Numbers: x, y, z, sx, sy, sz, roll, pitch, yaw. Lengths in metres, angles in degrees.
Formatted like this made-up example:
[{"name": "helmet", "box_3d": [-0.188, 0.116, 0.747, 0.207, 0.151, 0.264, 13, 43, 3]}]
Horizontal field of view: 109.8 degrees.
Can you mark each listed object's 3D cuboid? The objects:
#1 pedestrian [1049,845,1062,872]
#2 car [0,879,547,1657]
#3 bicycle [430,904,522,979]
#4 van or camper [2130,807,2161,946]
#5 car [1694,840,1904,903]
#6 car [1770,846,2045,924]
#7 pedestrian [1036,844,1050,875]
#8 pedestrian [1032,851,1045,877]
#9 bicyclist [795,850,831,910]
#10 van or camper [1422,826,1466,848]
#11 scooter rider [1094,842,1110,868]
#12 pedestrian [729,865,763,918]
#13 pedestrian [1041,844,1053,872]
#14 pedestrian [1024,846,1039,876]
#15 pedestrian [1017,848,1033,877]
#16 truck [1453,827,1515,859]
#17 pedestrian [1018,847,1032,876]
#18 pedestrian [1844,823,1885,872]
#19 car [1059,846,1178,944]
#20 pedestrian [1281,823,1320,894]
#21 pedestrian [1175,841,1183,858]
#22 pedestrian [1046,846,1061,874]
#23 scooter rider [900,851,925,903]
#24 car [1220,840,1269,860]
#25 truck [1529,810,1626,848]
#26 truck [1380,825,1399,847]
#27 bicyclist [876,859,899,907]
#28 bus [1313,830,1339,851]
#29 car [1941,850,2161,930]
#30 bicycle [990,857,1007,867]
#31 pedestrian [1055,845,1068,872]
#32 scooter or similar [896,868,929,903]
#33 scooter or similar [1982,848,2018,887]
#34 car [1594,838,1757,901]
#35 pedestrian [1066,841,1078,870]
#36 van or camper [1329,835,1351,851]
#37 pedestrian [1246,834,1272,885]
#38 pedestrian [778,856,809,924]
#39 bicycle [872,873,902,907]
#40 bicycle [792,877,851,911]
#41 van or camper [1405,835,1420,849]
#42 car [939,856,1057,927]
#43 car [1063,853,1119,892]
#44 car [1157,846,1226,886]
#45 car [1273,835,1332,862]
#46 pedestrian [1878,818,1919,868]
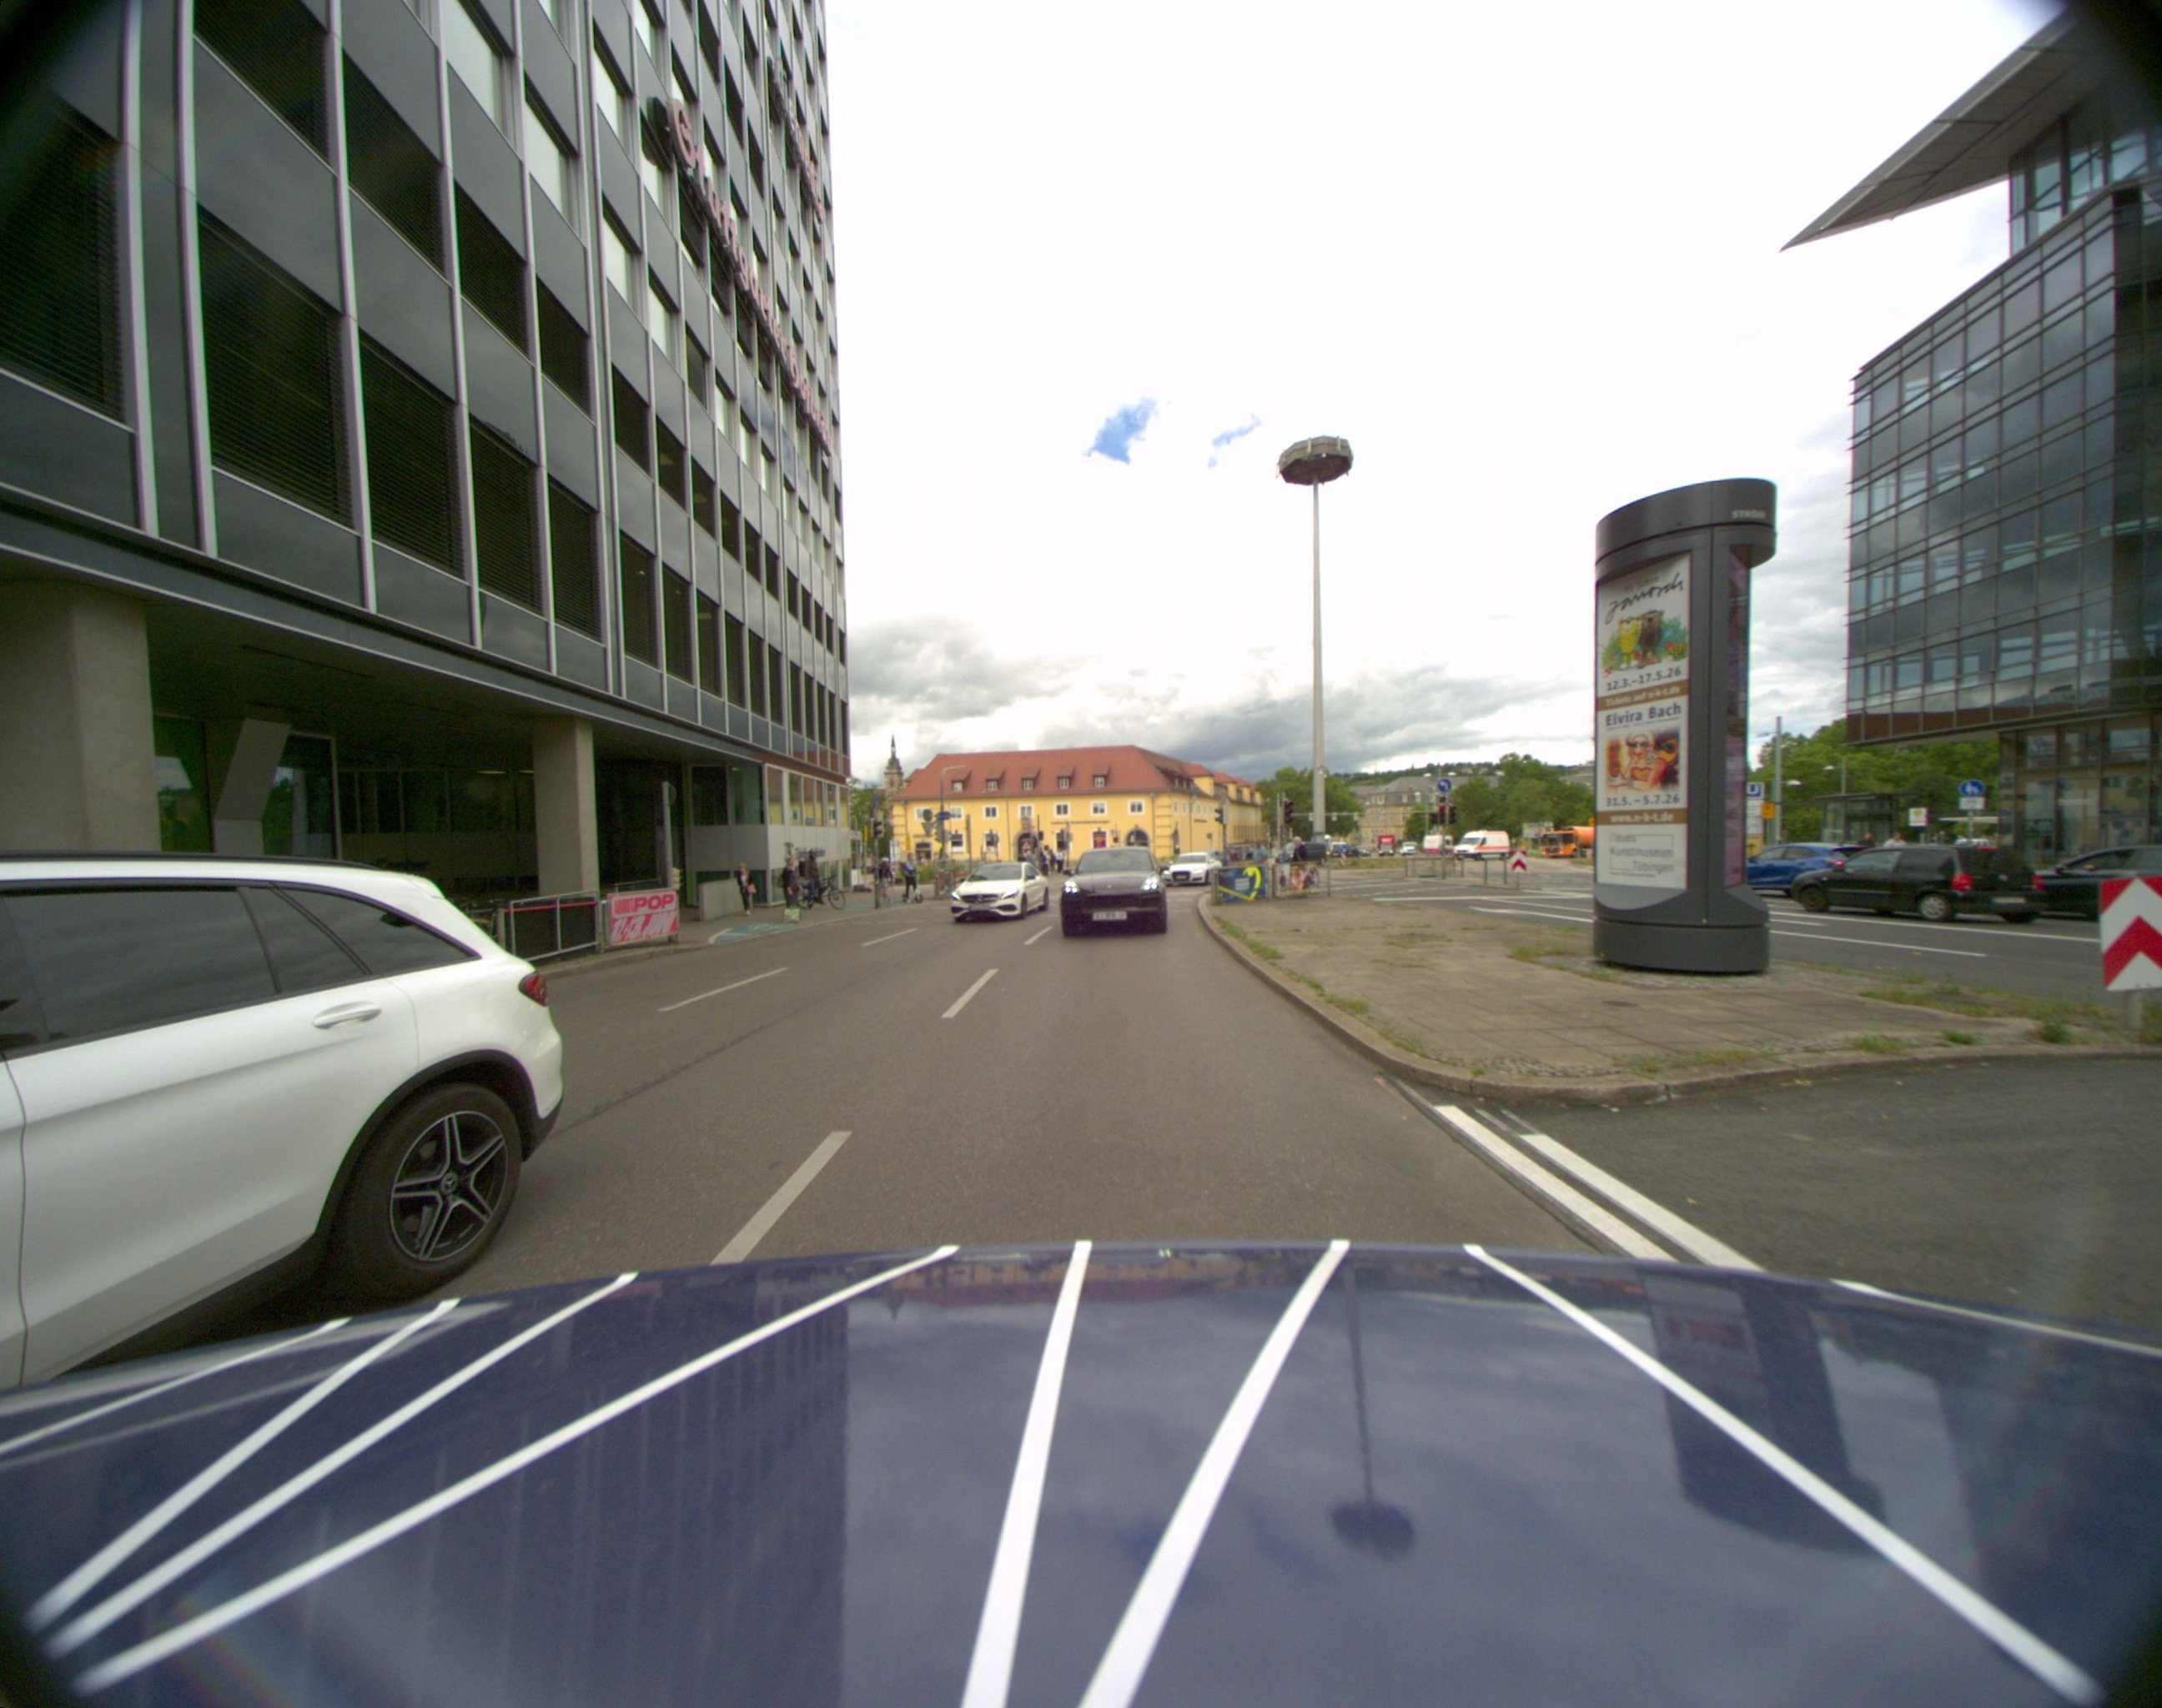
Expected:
[{"name": "pedestrian", "box_3d": [-1.690, 0.286, 49.553, 0.611, 1.686, 0.641, -2, 1, -23]}, {"name": "car", "box_3d": [-3.281, 0.954, 1.197, 1.806, 1.637, 4.333, 0, 1, 0]}, {"name": "bicycle", "box_3d": [-9.961, 1.409, 12.576, 0.715, 1.042, 1.484, -2, 1, -20]}, {"name": "van or camper", "box_3d": [15.773, 0.335, 8.179, 1.918, 1.910, 5.083, 0, 1, 1]}, {"name": "car", "box_3d": [19.378, 0.417, 20.814, 1.998, 1.516, 4.091, -1, 1, 2]}, {"name": "car", "box_3d": [16.103, 0.533, 15.113, 1.560, 1.371, 3.633, 0, 0, 2]}, {"name": "pedestrian", "box_3d": [-2.436, 0.335, 48.685, 0.611, 1.953, 0.641, -2, 1, -23]}, {"name": "pedestrian", "box_3d": [-2.839, 0.662, 50.510, 0.611, 1.686, 0.641, -2, 1, -23]}, {"name": "bicyclist", "box_3d": [-8.367, 0.784, 23.740, 0.812, 1.835, 0.676, 0, 2, 25]}, {"name": "van or camper", "box_3d": [43.497, -2.014, 91.087, 6.172, 2.463, 2.141, -2, 1, -37]}, {"name": "scooter rider", "box_3d": [1.367, 0.083, 49.798, 0.767, 1.684, 0.745, -2, 1, -15]}, {"name": "pedestrian", "box_3d": [-9.446, 1.053, 21.475, 0.606, 1.434, 0.838, 0, 1, -4]}, {"name": "pedestrian", "box_3d": [-2.306, 0.252, 51.447, 0.611, 1.899, 0.641, -2, 1, -23]}, {"name": "pedestrian", "box_3d": [-3.081, 0.450, 47.286, 0.670, 1.852, 0.701, -2, 1, -20]}, {"name": "pedestrian", "box_3d": [-3.329, 0.521, 45.051, 0.802, 1.688, 0.547, -1, 1, -17]}, {"name": "truck", "box_3d": [35.658, -0.984, 67.219, 5.797, 2.768, 1.952, -1, 1, -28]}, {"name": "pedestrian", "box_3d": [-3.537, 0.445, 47.986, 0.670, 1.805, 0.701, -2, 1, -20]}, {"name": "pedestrian", "box_3d": [26.823, -0.234, 26.029, 0.653, 1.605, 0.967, -1, 4, 24]}, {"name": "car", "box_3d": [0.833, 0.700, 15.729, 2.004, 1.629, 5.022, -3, 0, 4]}, {"name": "pedestrian", "box_3d": [6.831, 0.121, 23.663, 0.879, 2.160, 0.762, -1, 1, -17]}, {"name": "pedestrian", "box_3d": [10.748, -0.488, 83.219, 0.639, 1.884, 0.558, -2, 1, -10]}, {"name": "pedestrian", "box_3d": [-1.747, 0.393, 48.112, 0.670, 1.751, 0.762, -2, 1, -20]}, {"name": "scooter rider", "box_3d": [-5.947, 0.790, 26.838, 0.594, 1.798, 0.641, -2, 2, -41]}, {"name": "car", "box_3d": [13.748, -0.335, 64.095, 3.806, 1.567, 2.000, -1, 1, 4]}, {"name": "truck", "box_3d": [52.817, -2.683, 80.839, 9.180, 3.594, 2.727, -2, -1, -12]}, {"name": "truck", "box_3d": [50.948, -2.903, 125.713, 2.785, 3.470, 8.362, 0, 1, 22]}, {"name": "bicyclist", "box_3d": [-6.527, 0.959, 25.610, 0.566, 1.541, 0.844, -1, 2, -28]}, {"name": "bus", "box_3d": [39.338, -2.167, 121.744, 3.428, 3.185, 13.080, -1, 1, 20]}, {"name": "car", "box_3d": [18.881, 0.585, 14.197, 1.560, 1.334, 3.633, 0, 0, 2]}, {"name": "bicycle", "box_3d": [-9.323, 0.912, 85.500, 1.769, 1.079, 0.621, -1, 1, 10]}, {"name": "pedestrian", "box_3d": [-1.308, 0.282, 51.007, 0.611, 1.786, 0.641, -2, 1, -23]}, {"name": "scooter or similar", "box_3d": [-5.969, 1.110, 26.881, 0.594, 1.169, 1.320, -2, 2, -41]}, {"name": "scooter or similar", "box_3d": [29.514, 0.408, 24.397, 1.388, 1.201, 0.532, -2, 1, -30]}, {"name": "car", "box_3d": [16.640, 0.377, 21.585, 1.737, 1.589, 4.321, -1, 1, 8]}, {"name": "pedestrian", "box_3d": [-0.611, 0.122, 52.105, 0.611, 1.944, 0.642, -2, 1, -19]}, {"name": "van or camper", "box_3d": [37.425, -1.579, 109.567, 2.369, 2.249, 6.297, -1, 1, 25]}, {"name": "pedestrian", "box_3d": [6.390, 0.208, 27.245, 0.717, 1.780, 0.634, 2, 0, 1]}, {"name": "pedestrian", "box_3d": [-7.480, 0.924, 19.797, 0.526, 1.702, 0.752, 0, 3, -5]}, {"name": "bicycle", "box_3d": [-6.567, 1.203, 25.691, 0.582, 1.021, 1.666, -1, 2, -28]}, {"name": "bicycle", "box_3d": [-8.158, 1.249, 23.850, 1.763, 1.001, 0.682, 0, -1, 25]}, {"name": "van or camper", "box_3d": [47.107, -1.685, 107.938, 1.862, 1.905, 4.720, -1, 1, 22]}, {"name": "car", "box_3d": [-2.016, 0.891, 20.070, 1.869, 1.560, 4.655, -2, 0, 9]}, {"name": "car", "box_3d": [0.493, 0.753, 32.840, 1.706, 1.524, 3.766, -1, 0, 11]}, {"name": "car", "box_3d": [5.061, 0.568, 34.282, 2.092, 1.599, 4.421, 2, -2, 21]}, {"name": "car", "box_3d": [17.049, -0.490, 58.383, 4.650, 1.977, 1.855, -1, 2, -35]}, {"name": "pedestrian", "box_3d": [27.638, -0.388, 25.704, 0.604, 1.622, 0.787, -5, 2, 22]}]
